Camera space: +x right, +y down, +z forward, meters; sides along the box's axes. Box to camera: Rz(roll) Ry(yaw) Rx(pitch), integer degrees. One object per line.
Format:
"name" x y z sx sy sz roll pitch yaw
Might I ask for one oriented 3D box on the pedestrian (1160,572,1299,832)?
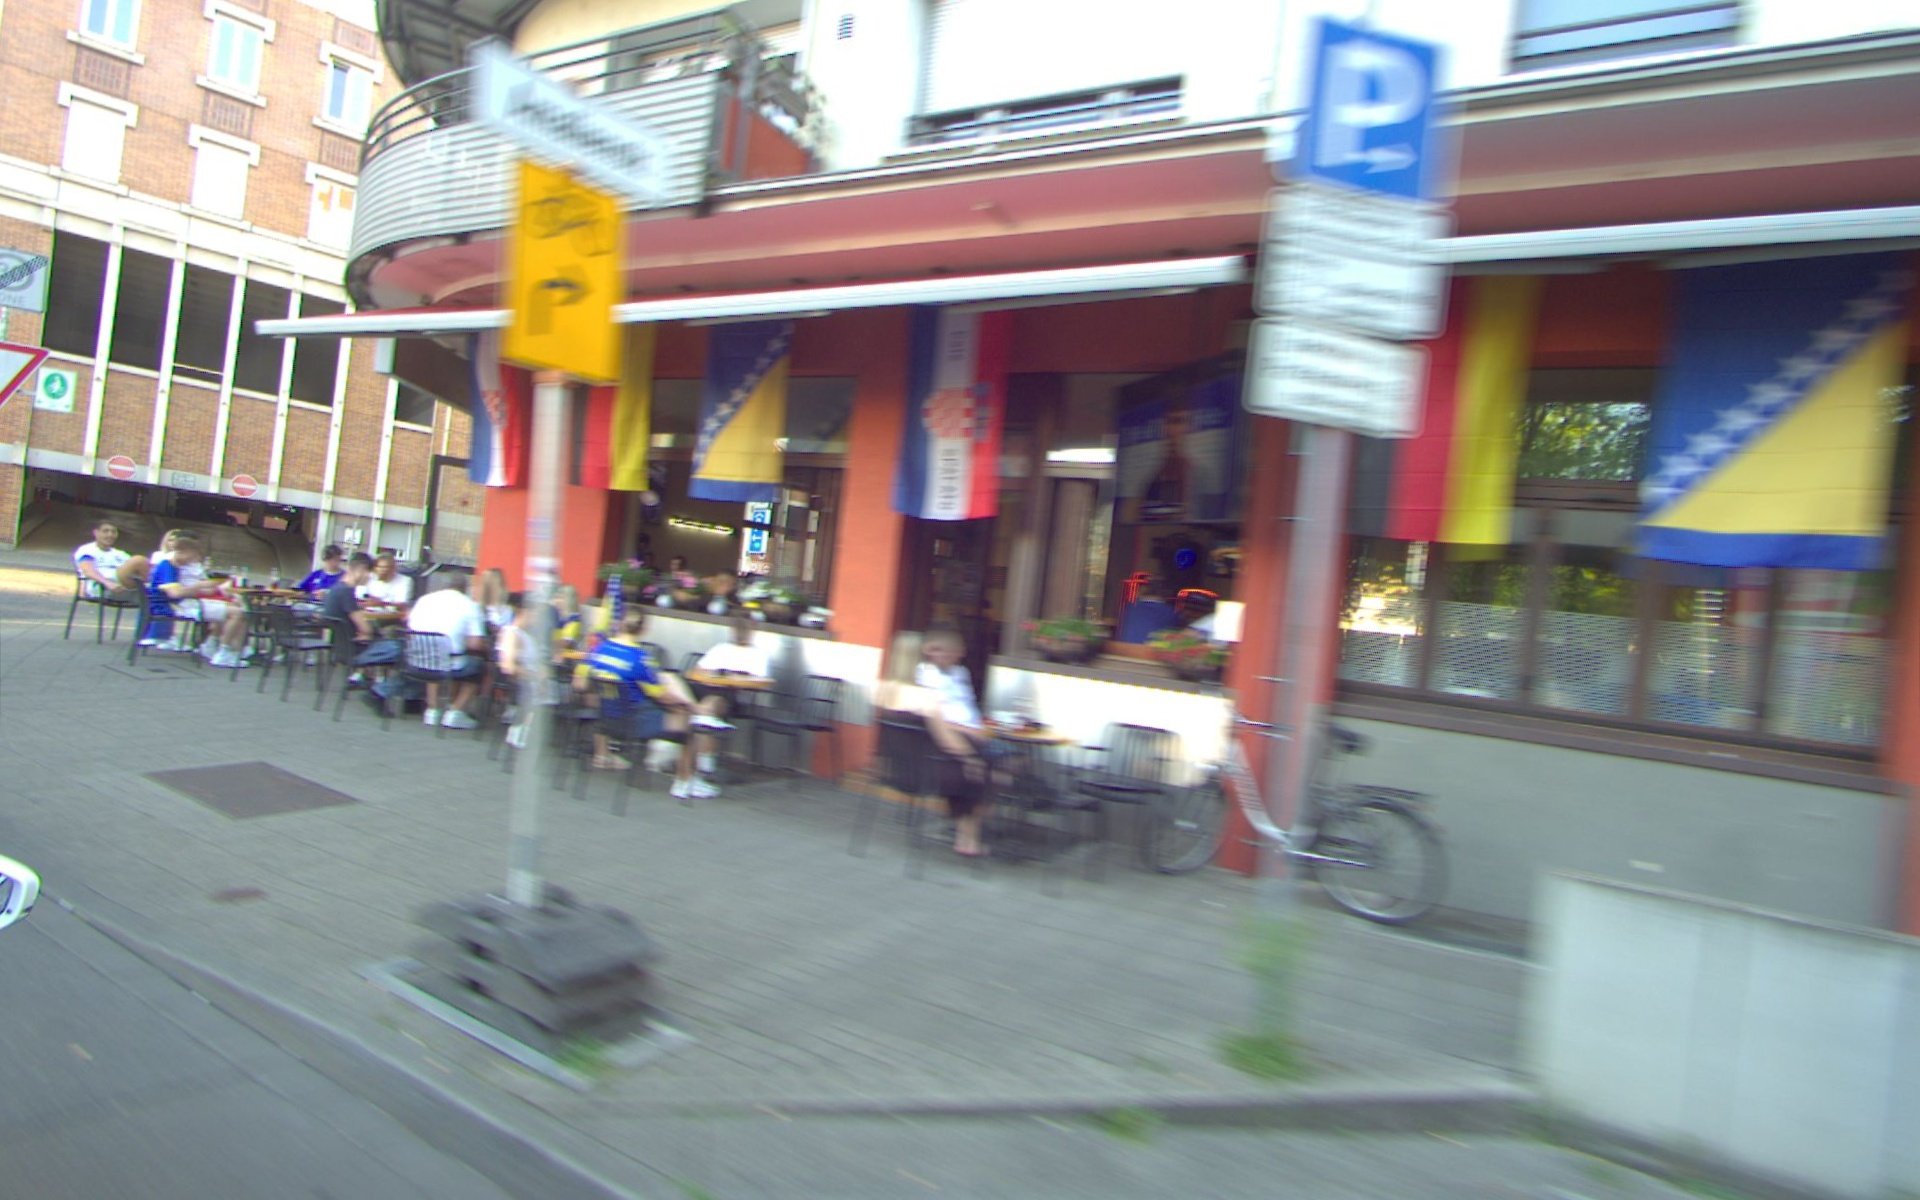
"pedestrian" 1.993 0.727 7.386 0.657 1.741 0.718 7 -1 28

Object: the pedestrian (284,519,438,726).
"pedestrian" -4.902 0.171 8.247 0.746 1.557 0.713 7 3 25

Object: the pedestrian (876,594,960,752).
"pedestrian" -0.502 0.877 12.194 0.606 1.798 0.612 7 -1 21

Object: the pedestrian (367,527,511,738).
"pedestrian" -4.158 0.244 8.041 0.688 1.548 0.649 7 3 25

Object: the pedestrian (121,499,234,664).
"pedestrian" -7.873 -0.184 10.121 0.710 1.554 0.681 7 0 -44

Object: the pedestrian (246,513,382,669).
"pedestrian" -7.060 -0.084 11.035 0.838 1.553 0.714 8 -1 -6

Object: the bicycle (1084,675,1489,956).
"bicycle" 1.773 1.109 5.607 1.971 1.099 0.550 7 -2 29

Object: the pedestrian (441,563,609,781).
"pedestrian" -3.019 0.477 7.000 0.736 1.362 0.654 7 2 26

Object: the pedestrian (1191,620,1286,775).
"pedestrian" 3.497 1.216 12.627 0.750 1.814 0.648 6 -1 39

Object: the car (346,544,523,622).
"car" -14.522 -0.459 27.885 3.968 1.537 1.980 9 -1 -37

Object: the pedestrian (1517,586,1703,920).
"pedestrian" 4.392 0.986 6.795 0.803 2.037 0.667 6 -1 39

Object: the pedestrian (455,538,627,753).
"pedestrian" -3.304 0.367 7.985 0.667 1.553 0.853 7 -2 26

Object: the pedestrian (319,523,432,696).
"pedestrian" -5.712 0.097 9.871 0.744 1.553 0.644 8 -2 -29

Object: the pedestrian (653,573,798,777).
"pedestrian" -1.792 0.578 7.758 0.592 1.437 0.714 7 -2 28

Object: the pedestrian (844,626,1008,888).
"pedestrian" -0.159 0.821 5.638 0.701 1.293 0.853 4 0 7

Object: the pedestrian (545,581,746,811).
"pedestrian" -2.042 0.599 6.520 0.872 1.322 0.843 6 0 -41

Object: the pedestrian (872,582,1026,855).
"pedestrian" -0.040 0.735 6.507 0.701 1.553 0.854 7 -2 7

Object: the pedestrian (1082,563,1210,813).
"pedestrian" 1.422 0.657 7.658 0.607 1.759 0.612 7 -1 28

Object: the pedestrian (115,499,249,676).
"pedestrian" -7.388 -0.126 9.561 0.839 1.557 0.712 7 4 30

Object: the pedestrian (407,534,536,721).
"pedestrian" -4.375 0.245 9.023 0.643 1.556 0.674 7 2 27

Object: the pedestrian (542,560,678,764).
"pedestrian" -2.694 0.467 7.774 0.551 1.452 0.666 7 1 26

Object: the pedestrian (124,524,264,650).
"pedestrian" -8.599 -0.128 11.325 0.949 1.297 0.686 5 -1 4

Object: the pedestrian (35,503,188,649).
"pedestrian" -8.904 -0.234 10.585 0.823 1.399 0.771 6 0 3

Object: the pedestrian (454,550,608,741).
"pedestrian" -3.736 0.395 8.789 0.769 1.522 0.769 7 0 27

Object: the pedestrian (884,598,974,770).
"pedestrian" -0.338 0.927 11.210 0.606 1.798 0.612 7 -1 21
